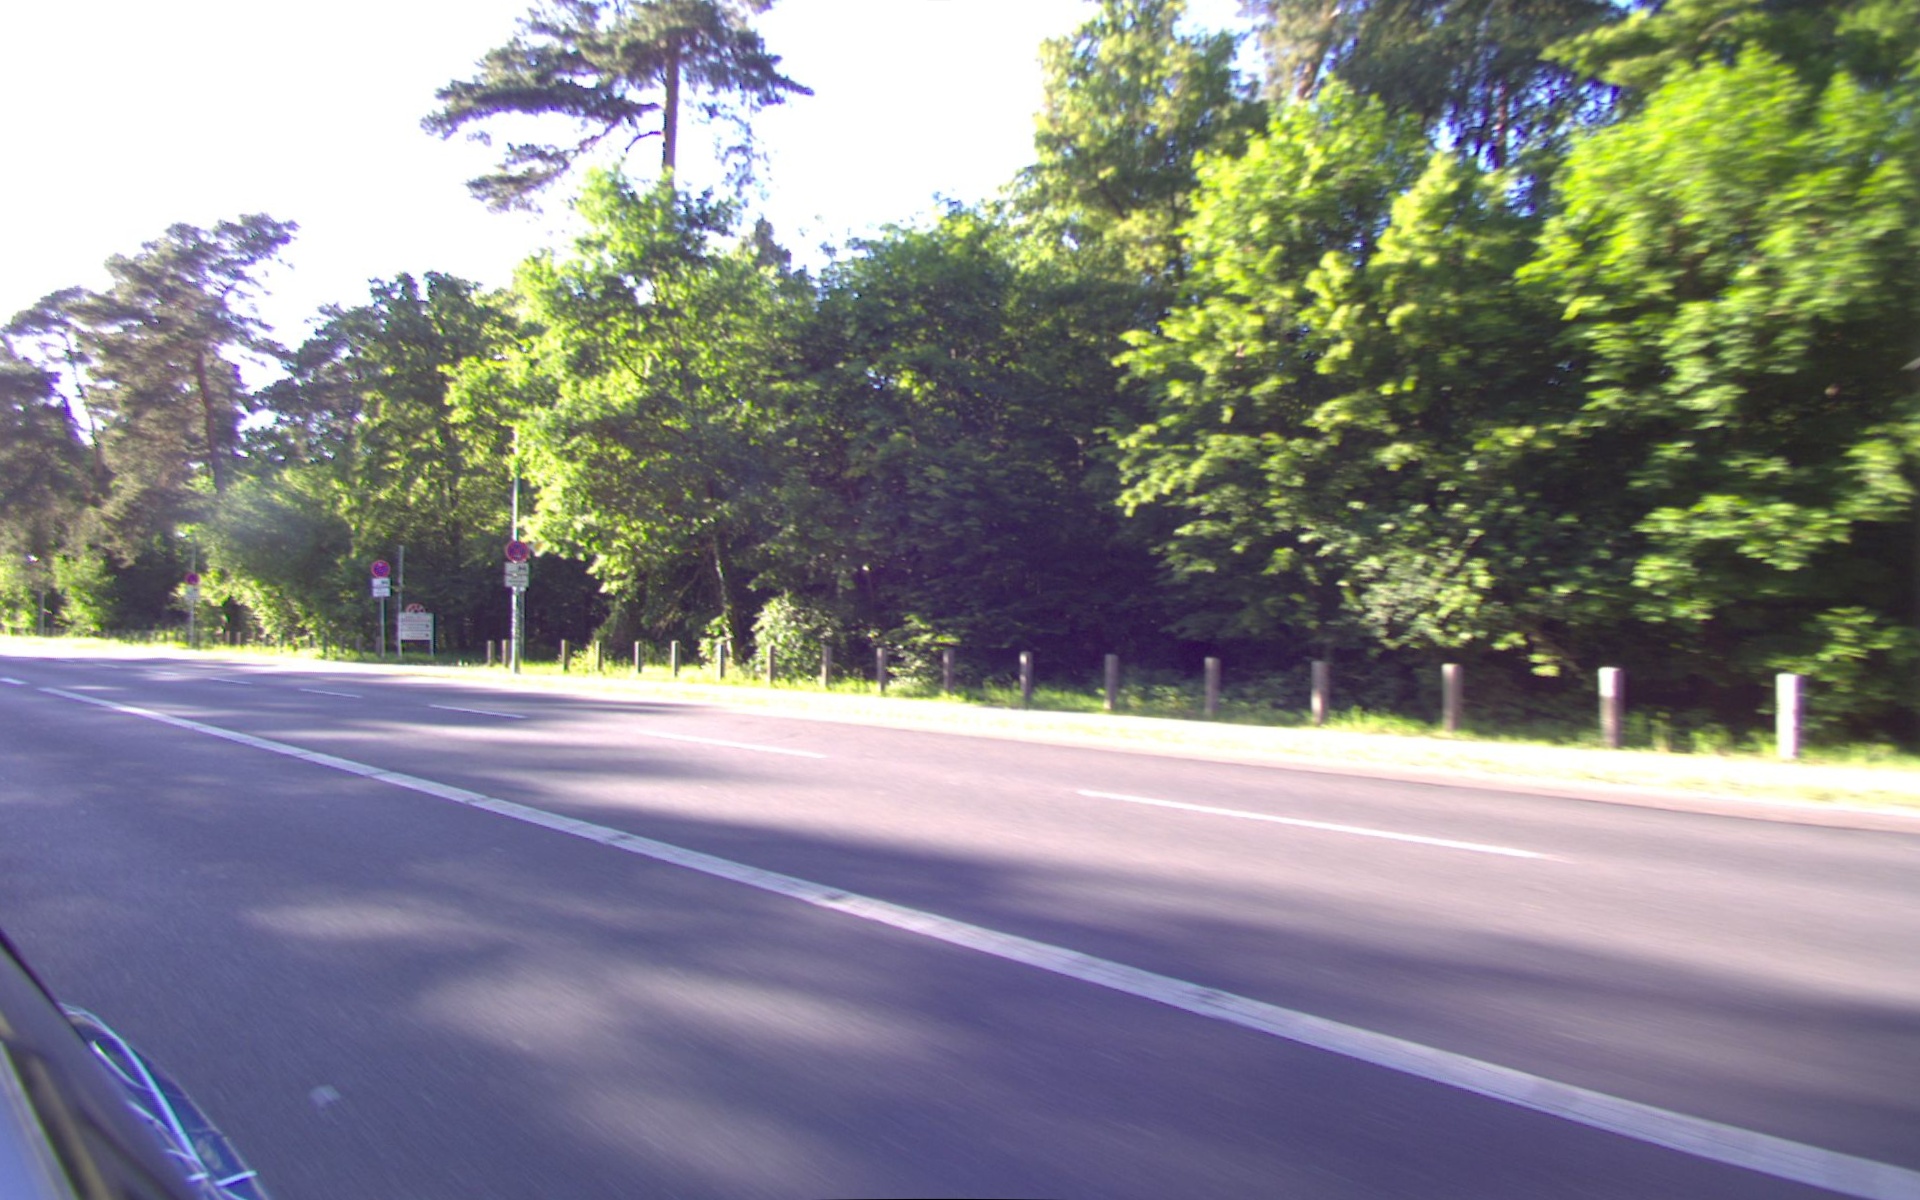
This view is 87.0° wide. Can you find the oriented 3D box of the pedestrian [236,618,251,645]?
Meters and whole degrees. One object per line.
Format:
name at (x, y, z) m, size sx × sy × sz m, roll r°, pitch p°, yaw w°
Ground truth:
pedestrian at (-34.730, 1.528, 49.071) m, size 0.512 × 1.325 × 0.466 m, roll -1°, pitch -2°, yaw 40°
